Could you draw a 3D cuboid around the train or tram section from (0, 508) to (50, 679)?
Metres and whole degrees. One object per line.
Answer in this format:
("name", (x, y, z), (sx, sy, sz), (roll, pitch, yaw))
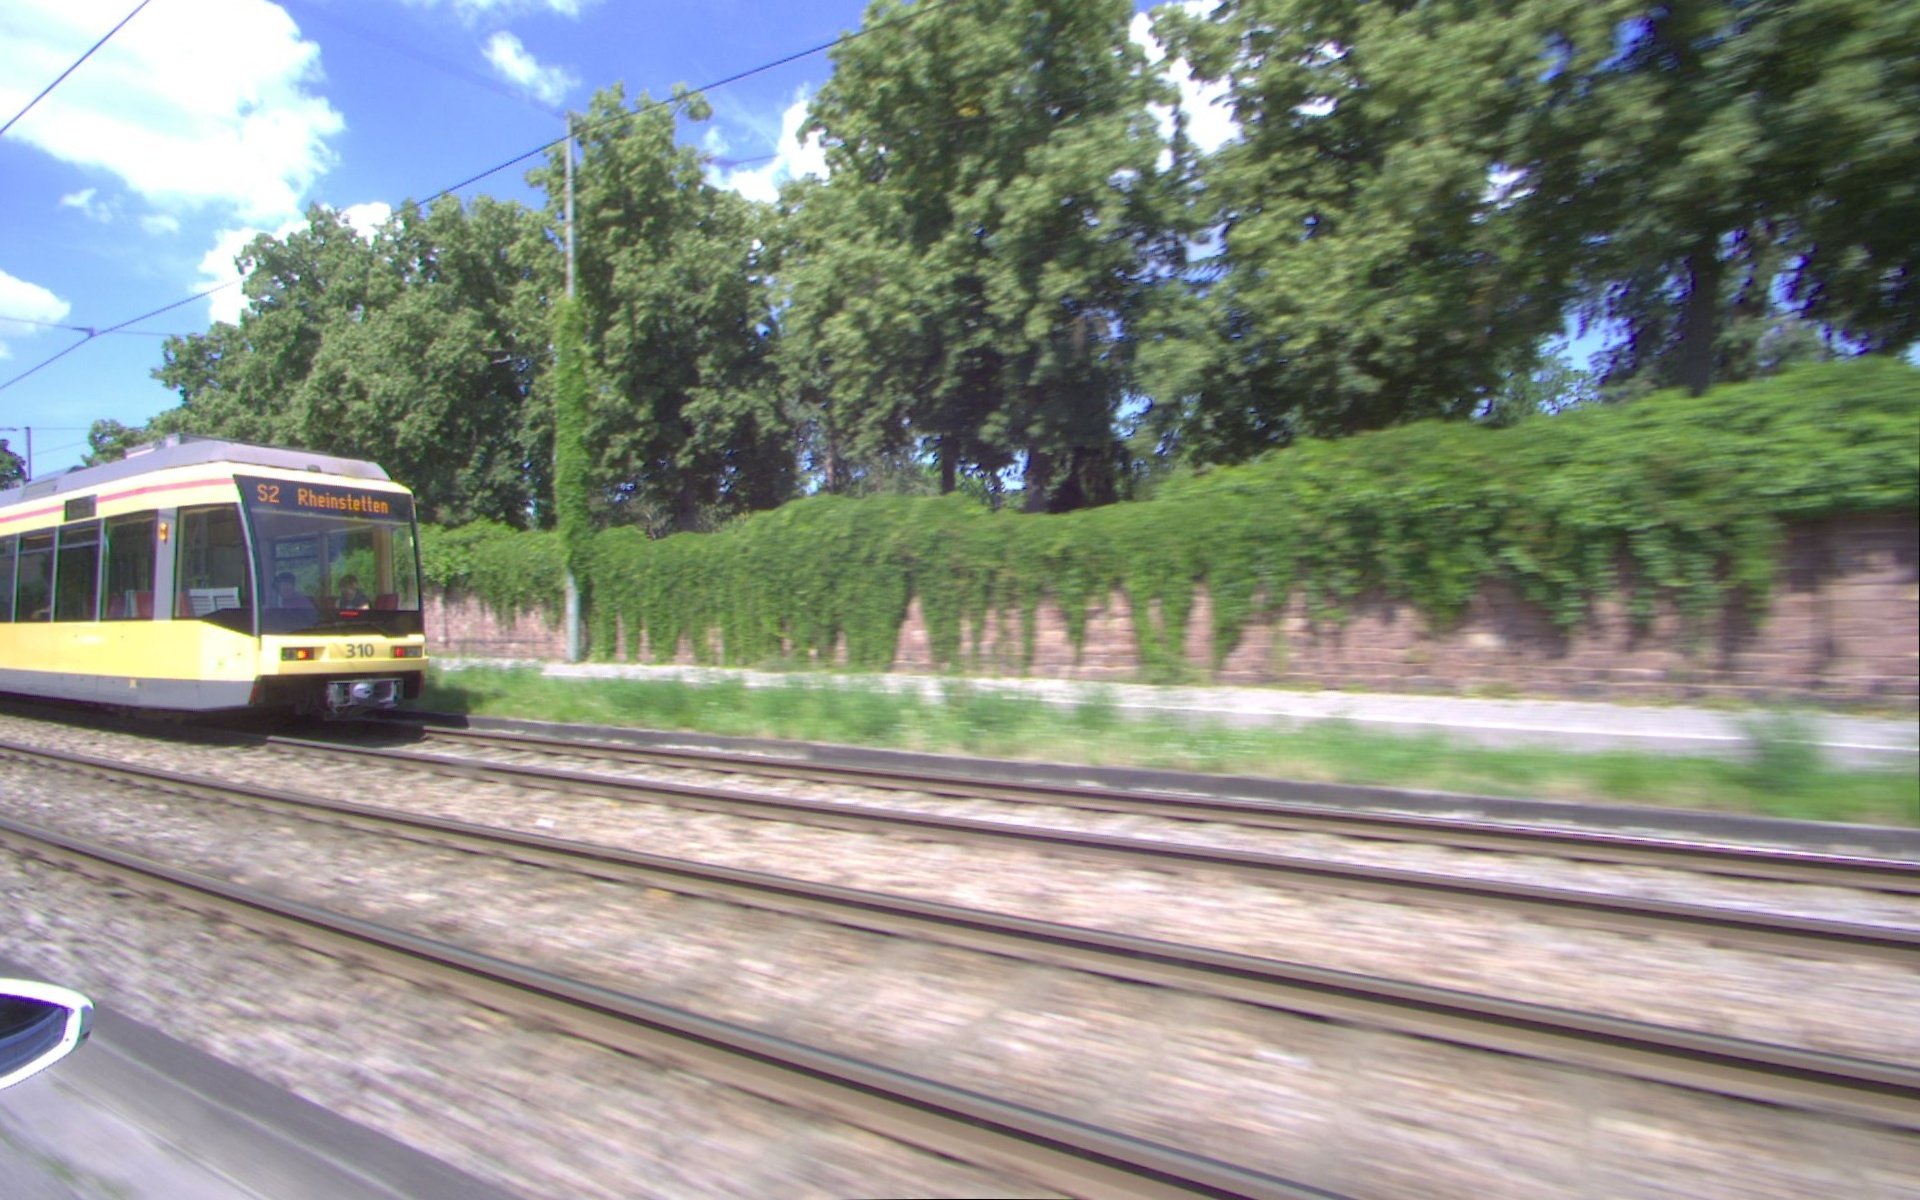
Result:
("train or tram section", (-29.449, -0.047, 27.263), (20.016, 3.740, 2.935), (-1, -1, 36))

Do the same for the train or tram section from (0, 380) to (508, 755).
("train or tram section", (-13.924, -0.214, 16.309), (18.135, 3.740, 2.936), (-1, -1, 34))
